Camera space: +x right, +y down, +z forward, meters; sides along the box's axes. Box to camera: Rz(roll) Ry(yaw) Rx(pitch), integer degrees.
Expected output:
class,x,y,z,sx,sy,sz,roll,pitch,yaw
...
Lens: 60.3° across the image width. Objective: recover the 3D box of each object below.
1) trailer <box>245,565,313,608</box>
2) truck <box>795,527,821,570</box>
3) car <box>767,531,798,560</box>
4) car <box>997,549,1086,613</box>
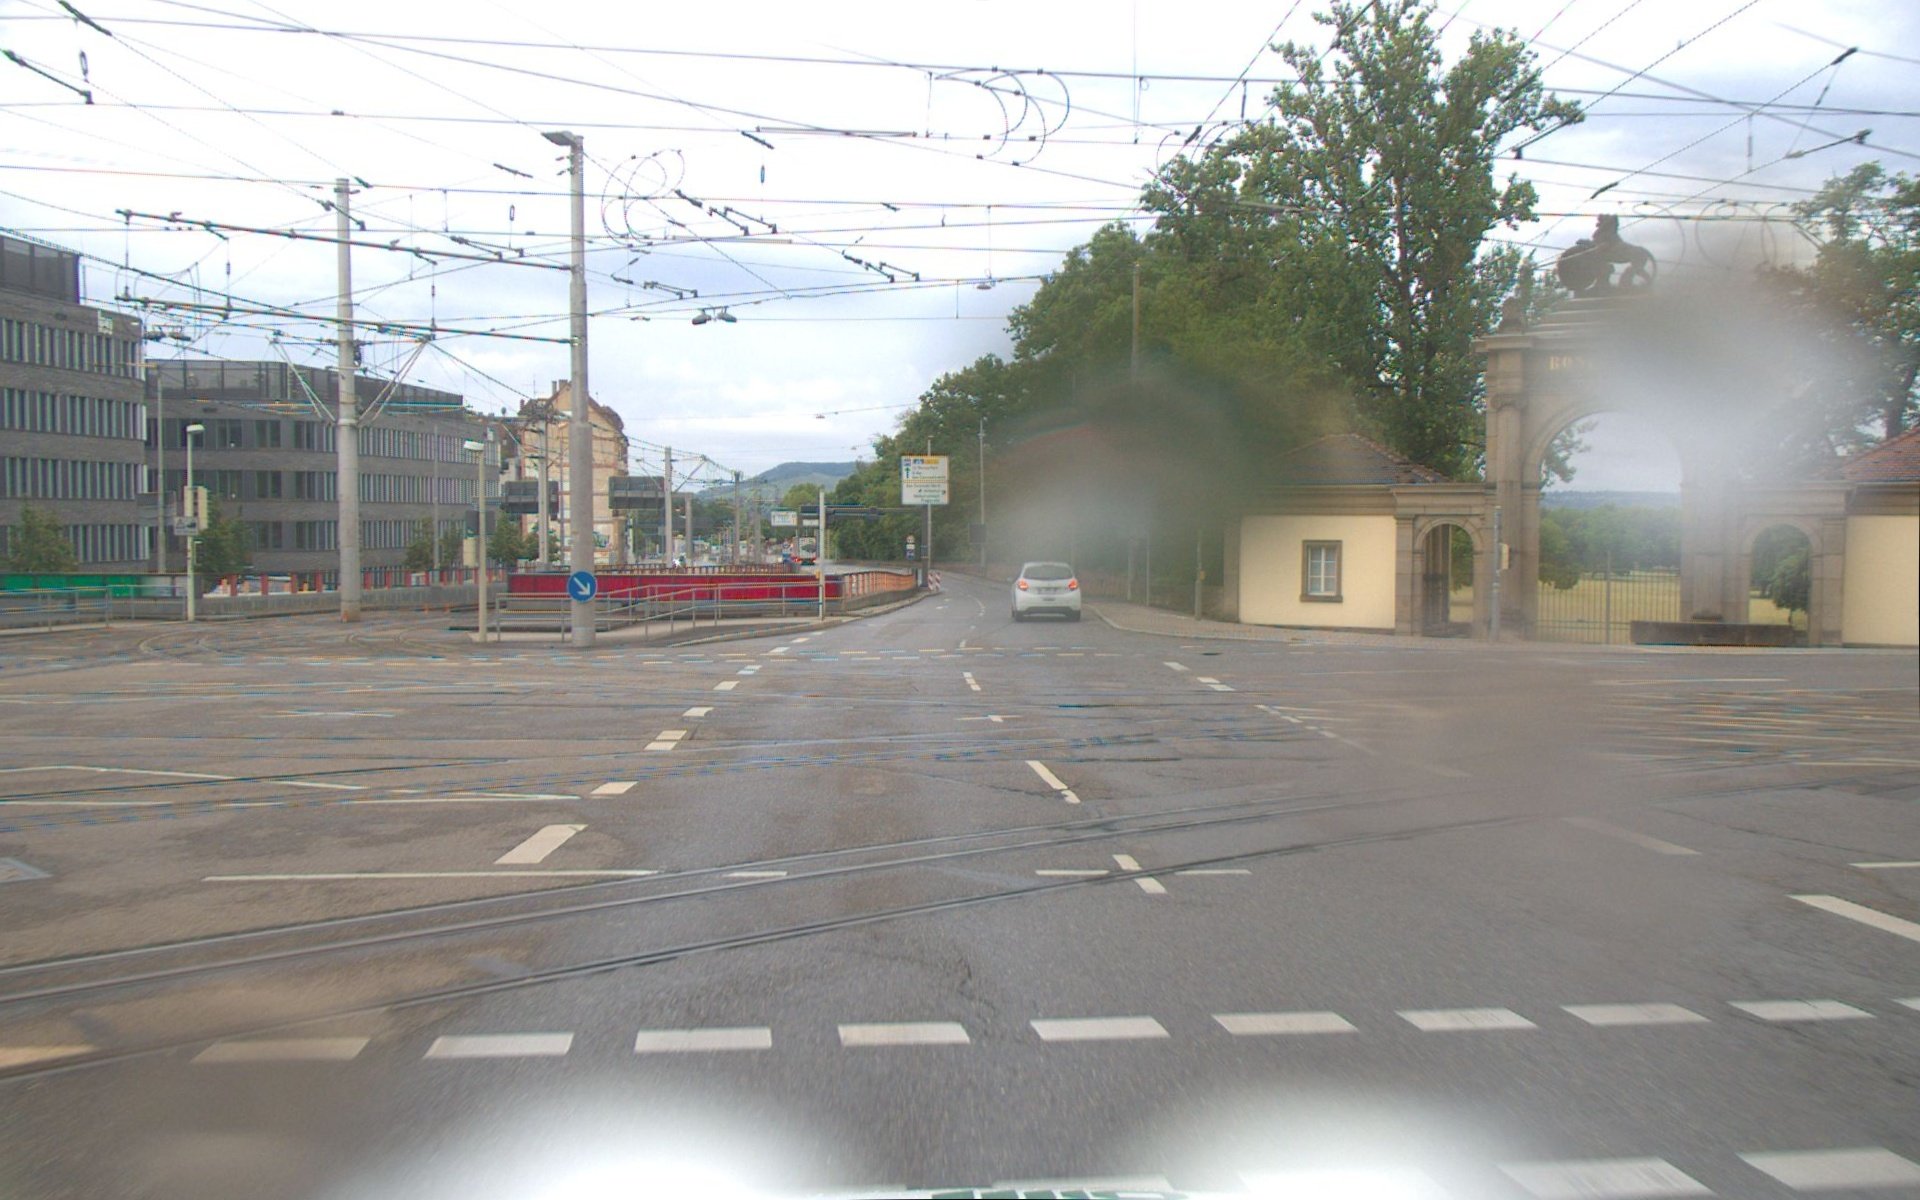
class,x,y,z,sx,sy,sz,roll,pitch,yaw
trailer,-35.398,-0.684,86.089,1.788,2.111,4.273,0,-2,-1
truck,-21.955,-7.283,238.447,3.399,5.496,12.031,0,-2,-7
car,-12.447,-3.769,115.698,1.956,1.905,3.992,-1,1,-8
car,2.048,-0.457,42.731,1.916,1.514,3.997,0,-2,-3
